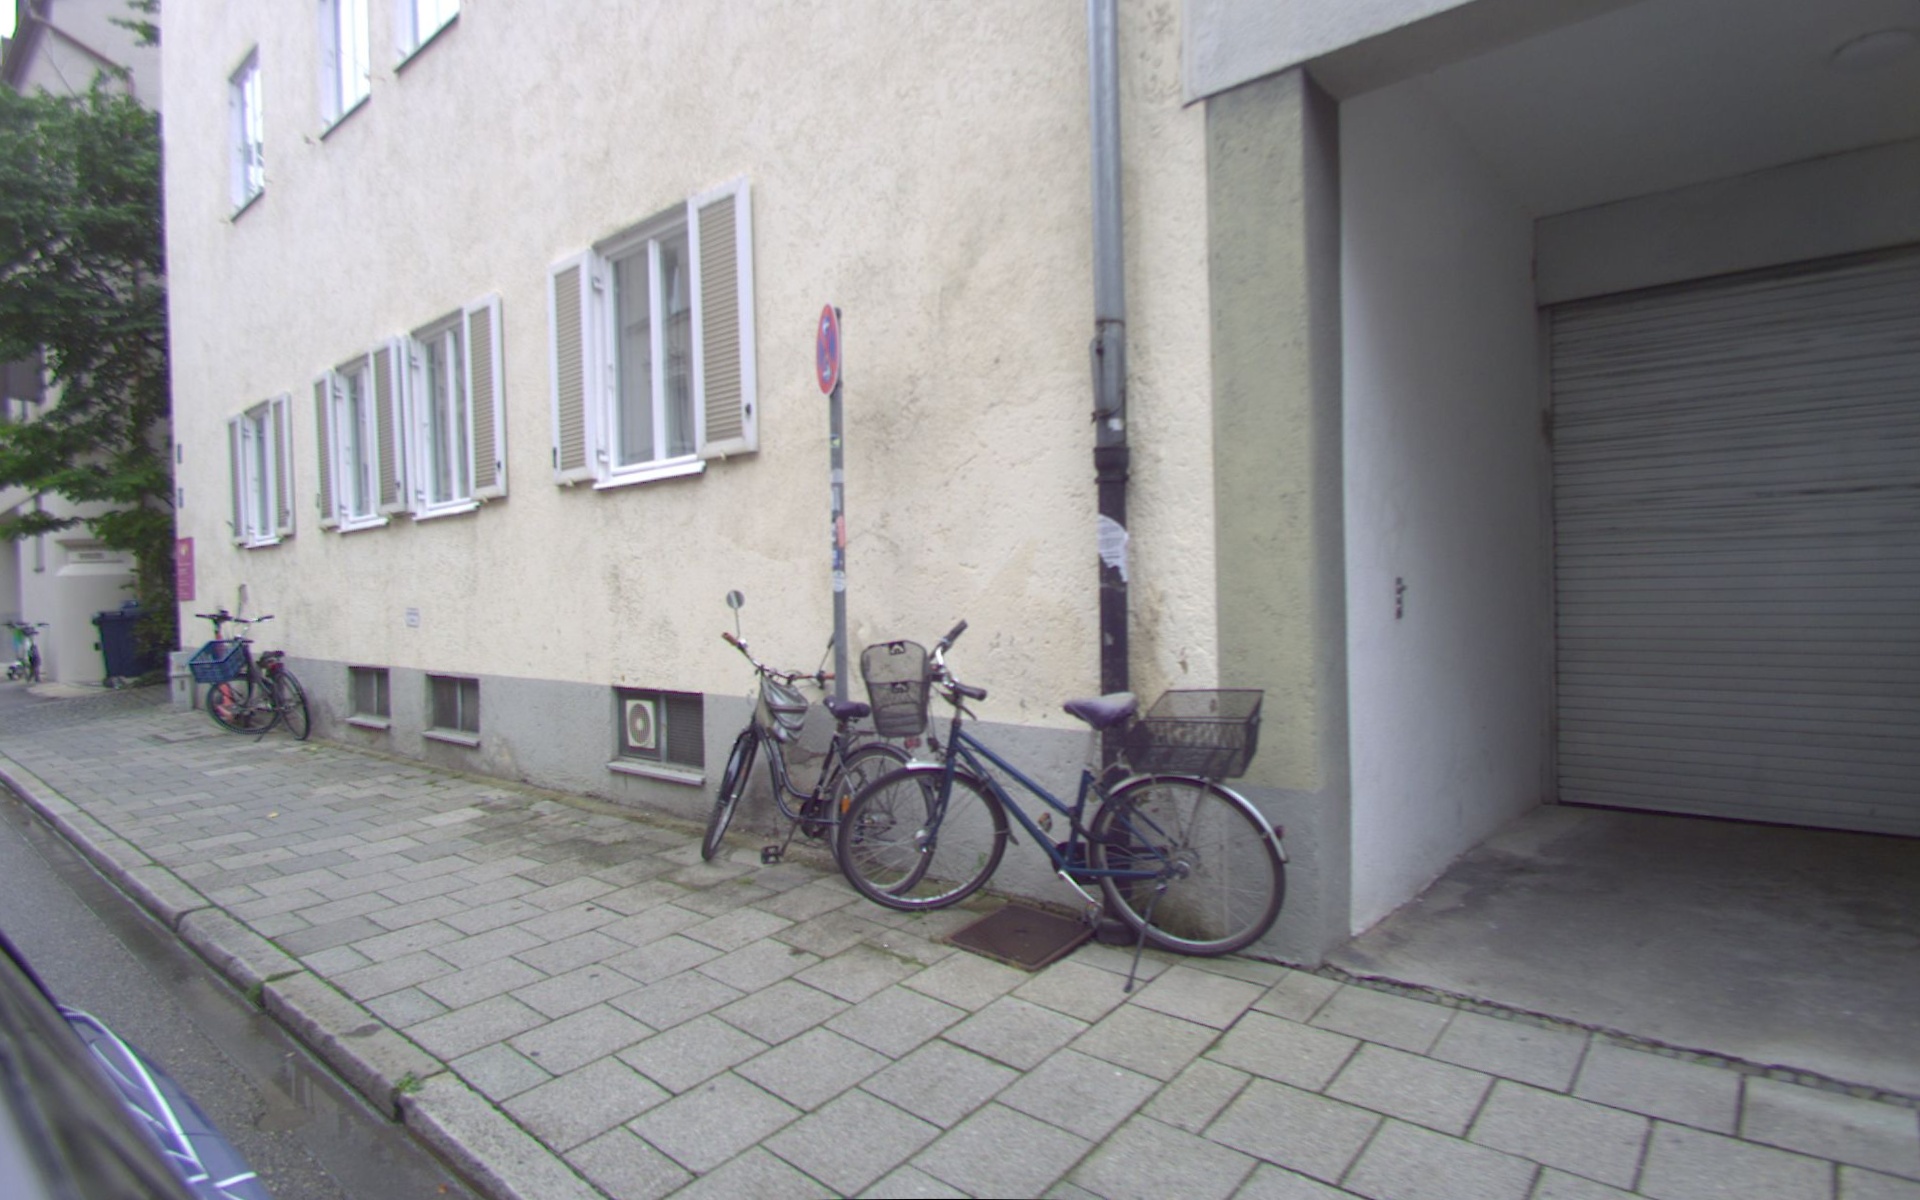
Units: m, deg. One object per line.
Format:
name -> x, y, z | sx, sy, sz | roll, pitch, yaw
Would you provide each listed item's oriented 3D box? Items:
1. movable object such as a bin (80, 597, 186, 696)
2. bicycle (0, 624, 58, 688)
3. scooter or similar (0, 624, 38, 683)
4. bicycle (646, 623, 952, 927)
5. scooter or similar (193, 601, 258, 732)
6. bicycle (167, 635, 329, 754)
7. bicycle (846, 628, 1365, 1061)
movable object such as a bin -> -13.817, 0.760, 16.903 | 1.161, 1.452, 1.250 | -8, 4, -43
bicycle -> -18.329, 1.073, 19.908 | 1.880, 1.170, 0.539 | -1, 2, 39
scooter or similar -> -19.915, 1.106, 21.230 | 0.544, 1.152, 1.362 | -4, 2, -32
bicycle -> -0.802, 0.713, 4.717 | 1.605, 1.168, 0.453 | -1, 3, 42
scooter or similar -> -8.186, 0.708, 11.271 | 1.238, 1.386, 0.314 | -1, -1, 41
bicycle -> -7.026, 0.881, 9.959 | 1.819, 0.991, 0.697 | -1, 4, 37
bicycle -> 0.439, 0.699, 3.530 | 1.717, 1.168, 0.557 | -1, 0, 35
